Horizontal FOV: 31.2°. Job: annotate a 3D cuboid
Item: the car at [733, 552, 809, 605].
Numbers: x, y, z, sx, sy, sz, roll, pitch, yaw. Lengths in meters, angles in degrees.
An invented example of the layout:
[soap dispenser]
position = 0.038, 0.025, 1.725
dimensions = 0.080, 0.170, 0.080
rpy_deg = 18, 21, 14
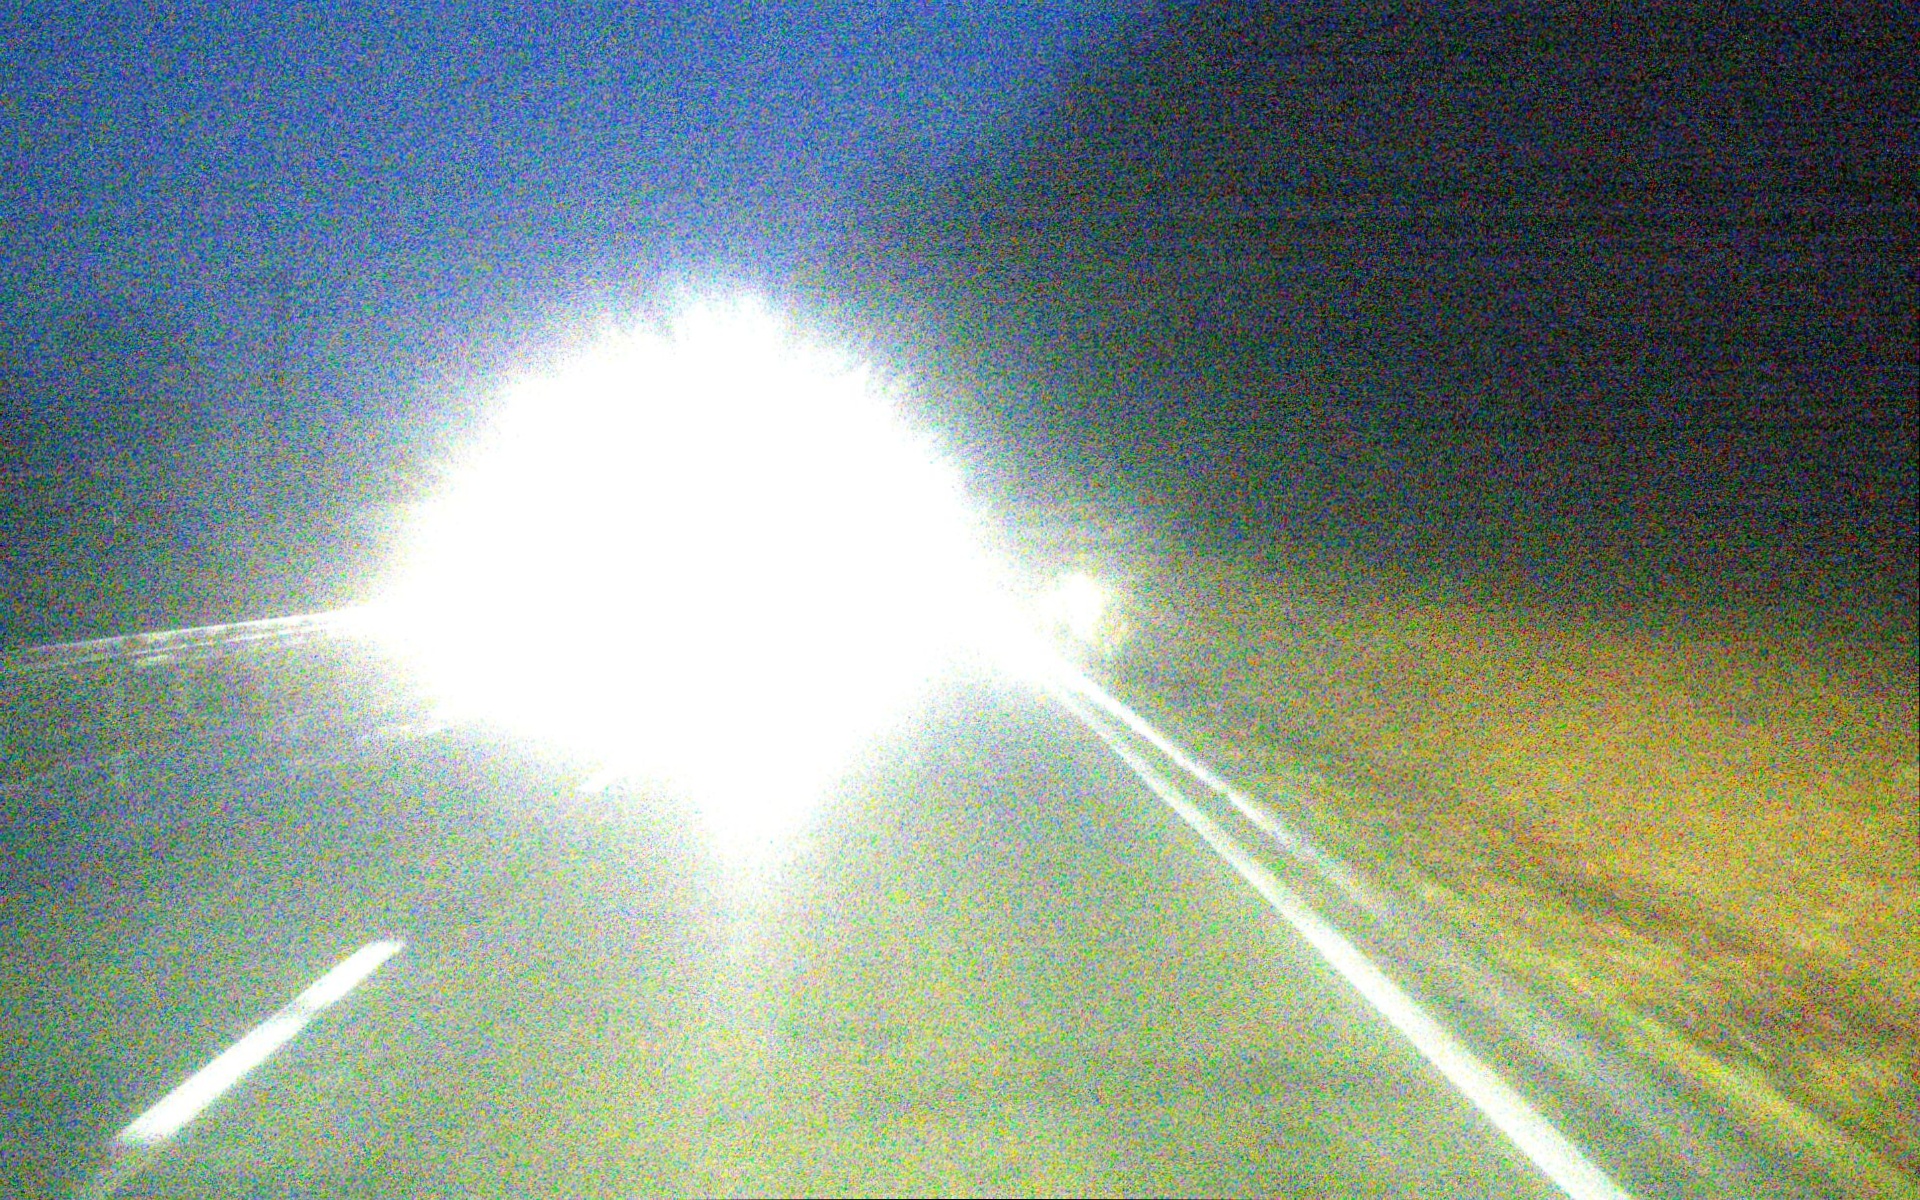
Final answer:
[car]
position = -5.435, -0.644, 99.306
dimensions = 1.993, 1.443, 4.430
rpy_deg = 1, 1, -1
